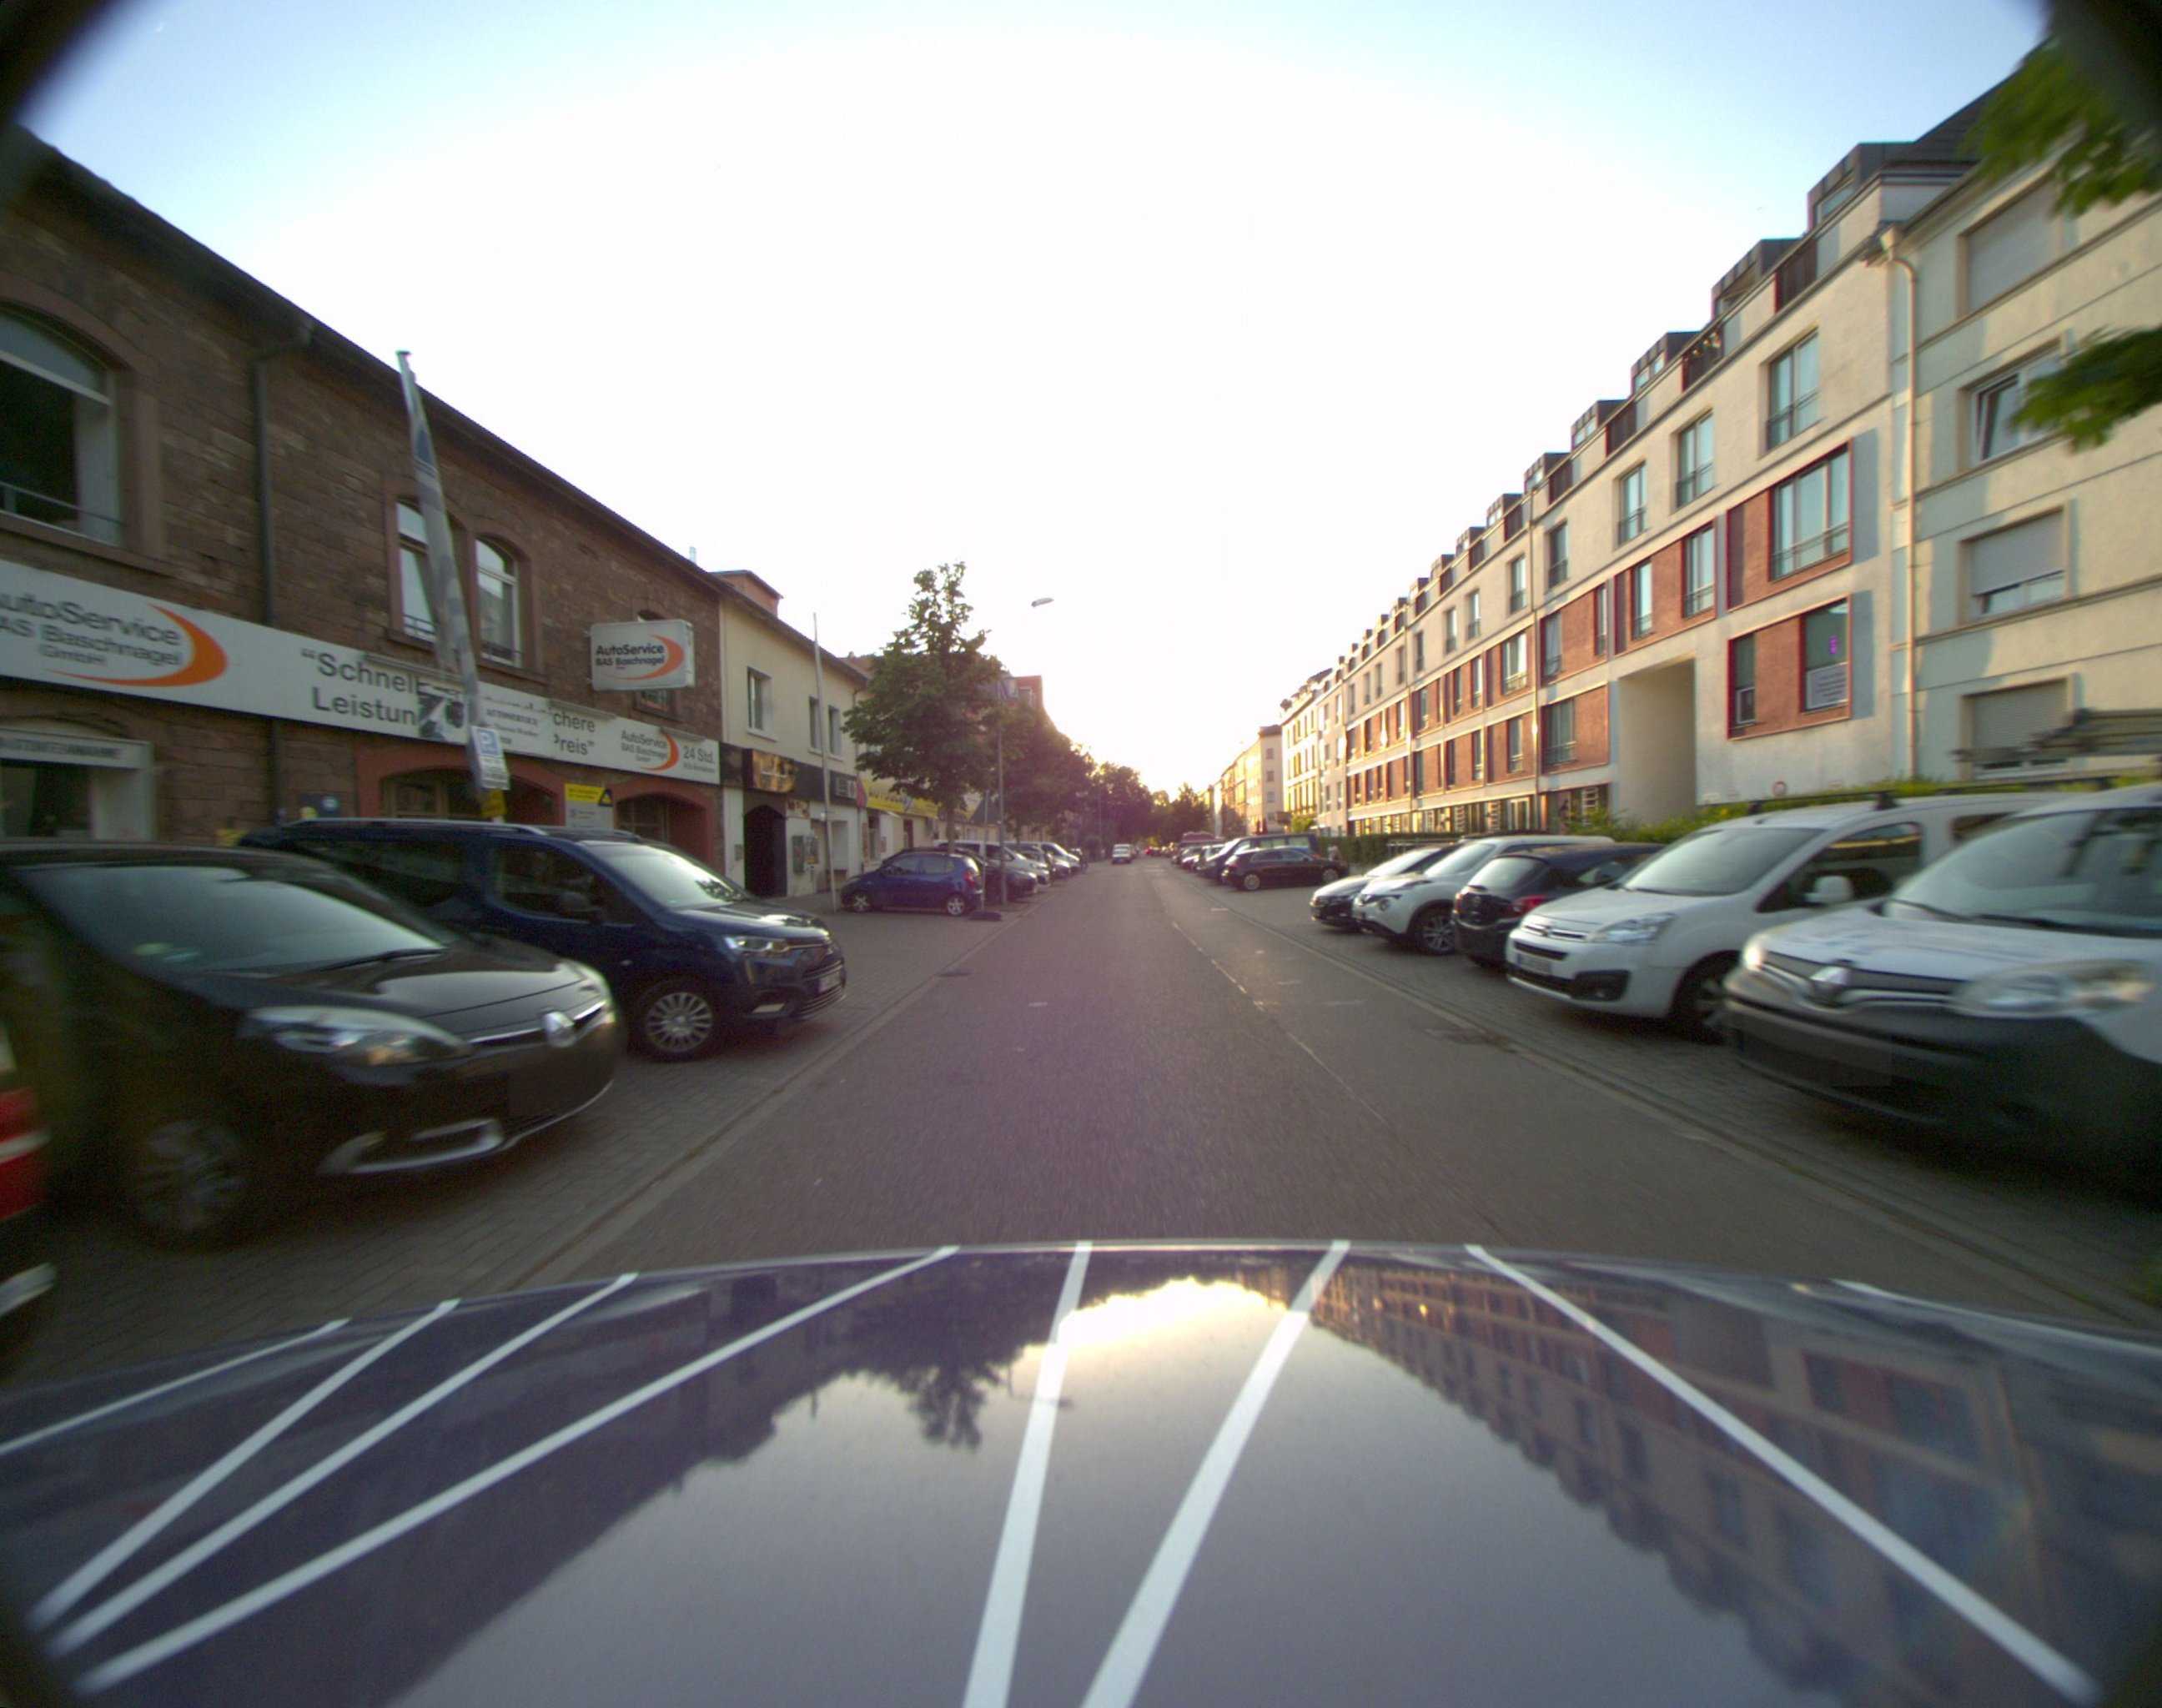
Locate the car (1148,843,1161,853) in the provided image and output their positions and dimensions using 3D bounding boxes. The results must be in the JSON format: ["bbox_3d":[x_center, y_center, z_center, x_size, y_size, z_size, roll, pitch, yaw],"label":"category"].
[{"bbox_3d":[11.653,-0.978,120.412,1.762,1.478,3.784,0,1,2],"label":"car"}]

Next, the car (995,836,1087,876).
[{"bbox_3d":[-2.280,0.099,44.368,4.970,2.089,2.151,-1,2,8],"label":"car"}]

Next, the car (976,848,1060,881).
[{"bbox_3d":[-2.989,0.475,36.384,3.794,1.488,1.681,1,1,2],"label":"car"}]

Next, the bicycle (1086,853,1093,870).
[{"bbox_3d":[0.566,0.516,51.153,0.357,1.093,1.972,-2,1,3],"label":"bicycle"}]

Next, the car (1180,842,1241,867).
[{"bbox_3d":[8.802,0.038,51.850,3.957,1.531,1.756,-2,1,6],"label":"car"}]

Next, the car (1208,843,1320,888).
[{"bbox_3d":[6.986,0.426,29.259,3.893,1.484,1.654,-3,1,1],"label":"car"}]

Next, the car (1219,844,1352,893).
[{"bbox_3d":[7.153,0.495,26.817,4.149,1.408,1.738,-4,1,-1],"label":"car"}]

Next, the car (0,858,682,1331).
[{"bbox_3d":[-4.743,0.882,3.791,4.425,1.566,1.982,2,0,1],"label":"car"}]

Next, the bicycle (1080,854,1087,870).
[{"bbox_3d":[0.143,0.556,51.141,0.357,1.018,1.972,-2,1,3],"label":"bicycle"}]

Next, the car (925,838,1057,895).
[{"bbox_3d":[-3.370,0.426,29.088,4.596,1.851,2.012,3,2,5],"label":"car"}]

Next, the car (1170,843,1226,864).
[{"bbox_3d":[9.153,-0.055,59.431,3.988,1.408,1.804,-3,1,-2],"label":"car"}]

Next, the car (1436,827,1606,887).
[{"bbox_3d":[13.219,0.079,22.985,3.998,1.625,1.999,-2,1,-2],"label":"car"}]

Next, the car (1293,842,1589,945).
[{"bbox_3d":[6.333,0.653,13.747,4.419,1.443,1.827,-4,1,1],"label":"car"}]

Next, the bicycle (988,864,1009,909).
[{"bbox_3d":[-2.356,0.908,21.820,0.309,1.186,1.762,-2,1,2],"label":"bicycle"}]

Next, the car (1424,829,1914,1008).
[{"bbox_3d":[6.272,0.649,8.490,3.996,1.476,1.756,-5,1,2],"label":"car"}]

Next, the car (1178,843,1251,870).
[{"bbox_3d":[8.143,0.159,46.695,4.272,1.485,1.789,-2,1,5],"label":"car"}]

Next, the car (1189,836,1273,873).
[{"bbox_3d":[8.181,0.020,41.775,4.188,1.885,1.897,-2,1,-1],"label":"car"}]

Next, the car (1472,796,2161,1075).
[{"bbox_3d":[5.974,0.574,6.263,4.431,1.791,1.944,-3,1,5],"label":"car"}]

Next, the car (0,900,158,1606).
[{"bbox_3d":[-4.503,0.906,1.128,3.996,1.609,1.895,1,1,1],"label":"car"}]

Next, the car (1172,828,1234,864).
[{"bbox_3d":[9.112,-0.580,57.074,4.411,2.542,1.932,-2,1,5],"label":"car"}]

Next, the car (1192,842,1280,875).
[{"bbox_3d":[7.948,0.196,39.213,3.999,1.580,2.052,-1,1,-5],"label":"car"}]

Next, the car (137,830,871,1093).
[{"bbox_3d":[-4.529,0.778,6.559,4.798,1.743,2.017,2,0,2],"label":"car"}]

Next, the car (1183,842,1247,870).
[{"bbox_3d":[8.633,0.115,49.188,3.894,1.608,1.700,-2,1,6],"label":"car"}]

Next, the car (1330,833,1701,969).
[{"bbox_3d":[6.038,0.630,10.991,4.253,1.611,1.813,-3,0,3],"label":"car"}]

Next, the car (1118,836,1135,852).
[{"bbox_3d":[5.892,-1.281,98.388,1.998,2.002,4.000,-2,1,2],"label":"car"}]

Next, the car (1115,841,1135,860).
[{"bbox_3d":[4.510,-0.372,78.235,1.939,1.893,4.055,-2,1,2],"label":"car"}]

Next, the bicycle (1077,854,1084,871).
[{"bbox_3d":[-0.012,0.557,49.122,0.357,1.018,1.785,-2,1,3],"label":"bicycle"}]

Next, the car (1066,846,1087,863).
[{"bbox_3d":[-0.442,0.041,73.129,1.799,1.515,4.000,-2,1,2],"label":"car"}]

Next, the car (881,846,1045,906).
[{"bbox_3d":[-3.645,0.646,23.966,4.704,1.622,2.000,2,1,5],"label":"car"}]

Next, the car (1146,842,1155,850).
[{"bbox_3d":[14.191,-1.645,155.506,1.890,1.513,4.001,-1,1,4],"label":"car"}]

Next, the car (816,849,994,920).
[{"bbox_3d":[-4.394,0.726,19.349,3.996,1.537,1.845,2,1,3],"label":"car"}]

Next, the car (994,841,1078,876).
[{"bbox_3d":[-2.426,0.224,41.857,4.300,1.848,2.001,1,1,7],"label":"car"}]

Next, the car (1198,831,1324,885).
[{"bbox_3d":[7.428,0.148,31.779,4.864,2.043,2.001,-2,1,6],"label":"car"}]

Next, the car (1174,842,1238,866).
[{"bbox_3d":[8.870,-0.025,54.204,4.346,1.516,1.706,-2,1,4],"label":"car"}]

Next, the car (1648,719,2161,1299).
[{"bbox_3d":[5.749,0.420,3.518,4.522,2.058,2.001,-4,0,6],"label":"car"}]

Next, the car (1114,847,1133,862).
[{"bbox_3d":[4.028,0.019,72.455,1.732,1.367,3.763,-2,1,2],"label":"car"}]

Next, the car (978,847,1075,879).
[{"bbox_3d":[-2.757,0.438,39.015,4.732,1.487,2.000,1,1,3],"label":"car"}]
